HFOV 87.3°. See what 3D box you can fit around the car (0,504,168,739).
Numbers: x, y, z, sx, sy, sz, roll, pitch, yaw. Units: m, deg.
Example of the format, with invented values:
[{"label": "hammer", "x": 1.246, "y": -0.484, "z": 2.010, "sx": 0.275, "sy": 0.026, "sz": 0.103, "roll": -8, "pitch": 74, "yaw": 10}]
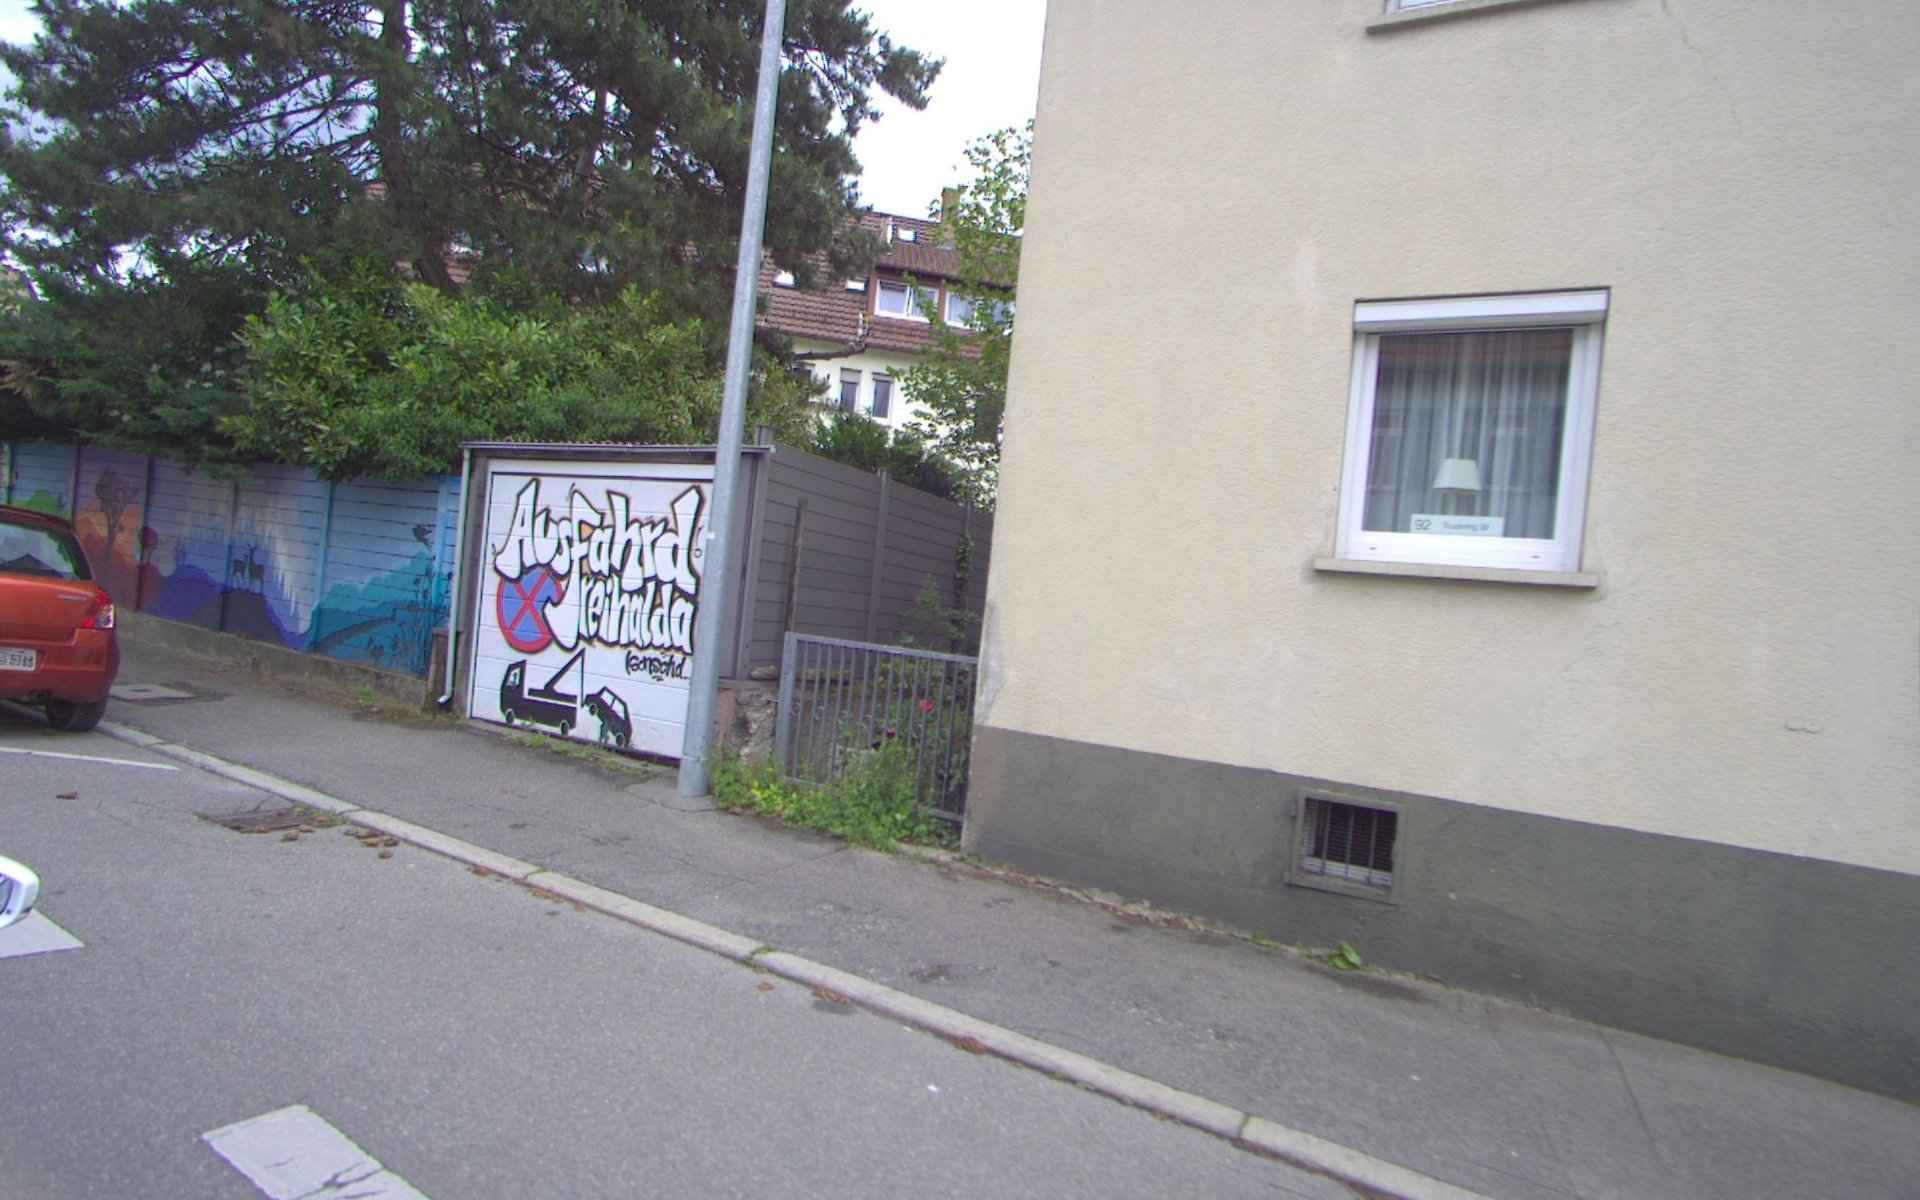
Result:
[{"label": "car", "x": -7.715, "y": -0.059, "z": 7.197, "sx": 3.932, "sy": 1.468, "sz": 1.763, "roll": 7, "pitch": -2, "yaw": 30}]
